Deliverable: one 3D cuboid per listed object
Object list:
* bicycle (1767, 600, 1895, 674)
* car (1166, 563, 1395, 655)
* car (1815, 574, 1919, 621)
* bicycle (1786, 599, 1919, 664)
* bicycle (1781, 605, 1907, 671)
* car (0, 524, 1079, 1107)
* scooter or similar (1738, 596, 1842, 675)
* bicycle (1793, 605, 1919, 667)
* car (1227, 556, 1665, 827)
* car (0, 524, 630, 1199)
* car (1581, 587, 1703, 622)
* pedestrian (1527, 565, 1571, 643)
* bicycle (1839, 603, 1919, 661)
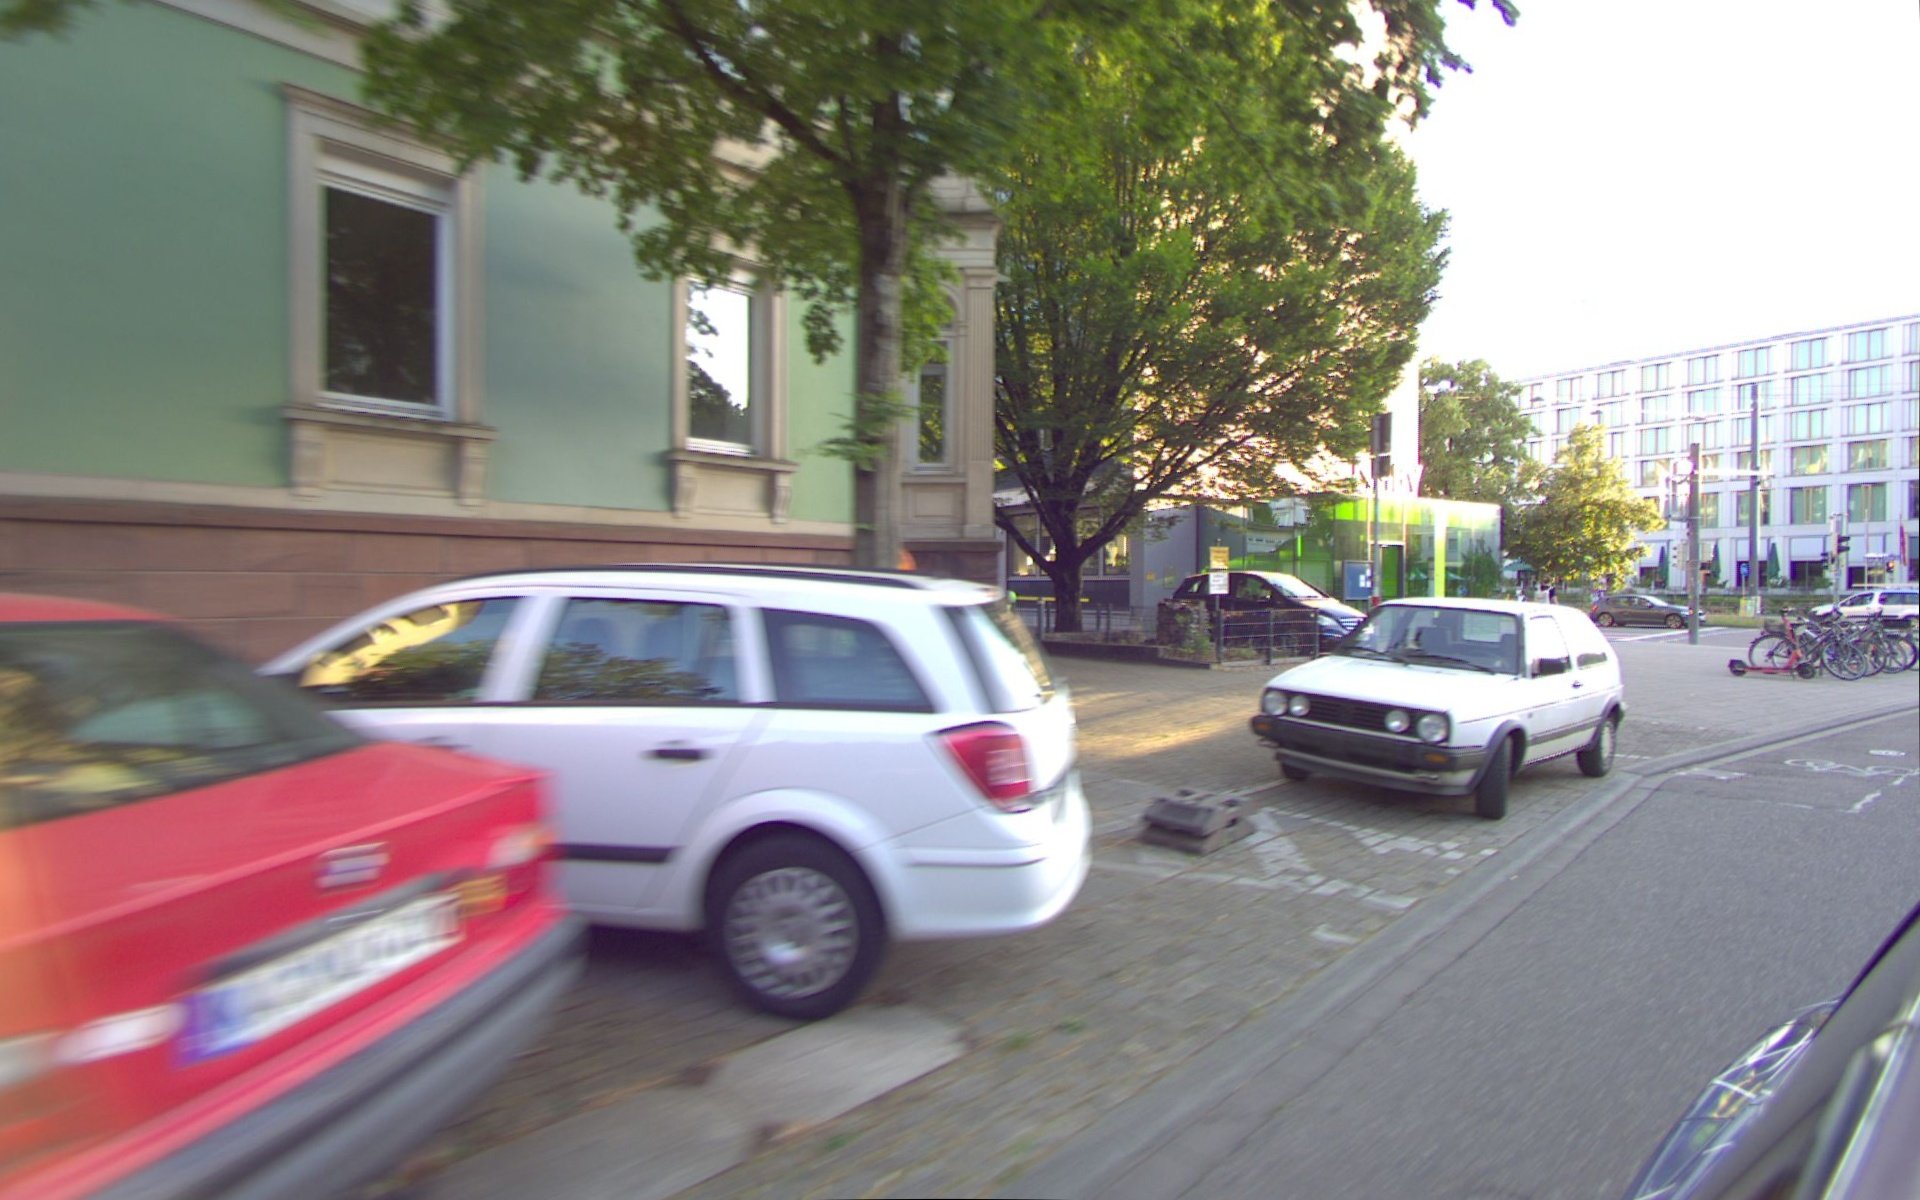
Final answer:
[{"bbox_3d":[14.967,0.605,17.425,0.729,1.177,1.532,0,1,-32],"label":"bicycle"},{"bbox_3d":[6.057,0.133,19.542,1.769,1.594,3.998,1,0,-34],"label":"car"},{"bbox_3d":[39.955,-0.132,43.613,1.771,1.935,4.466,0,1,-35],"label":"car"},{"bbox_3d":[17.660,0.592,19.766,0.729,1.146,2.240,0,2,-32],"label":"bicycle"},{"bbox_3d":[15.789,0.656,18.113,0.729,1.088,1.557,0,1,-32],"label":"bicycle"},{"bbox_3d":[-1.632,0.632,4.291,4.144,1.747,1.716,0,0,11],"label":"car"},{"bbox_3d":[14.003,0.577,17.089,0.579,1.240,1.205,0,2,-33],"label":"scooter or similar"},{"bbox_3d":[17.070,0.663,19.247,0.729,1.088,1.762,0,1,-32],"label":"bicycle"},{"bbox_3d":[3.972,0.507,7.983,3.931,1.571,1.683,-1,4,-42],"label":"car"},{"bbox_3d":[-3.029,0.634,2.274,4.148,1.472,1.638,0,1,15],"label":"car"},{"bbox_3d":[30.106,0.173,44.823,1.665,1.438,4.177,-1,1,-32],"label":"car"},{"bbox_3d":[13.772,0.083,23.655,0.705,1.790,0.975,0,0,41],"label":"pedestrian"},{"bbox_3d":[18.676,0.622,20.012,0.728,1.088,1.870,0,1,-16],"label":"bicycle"}]
